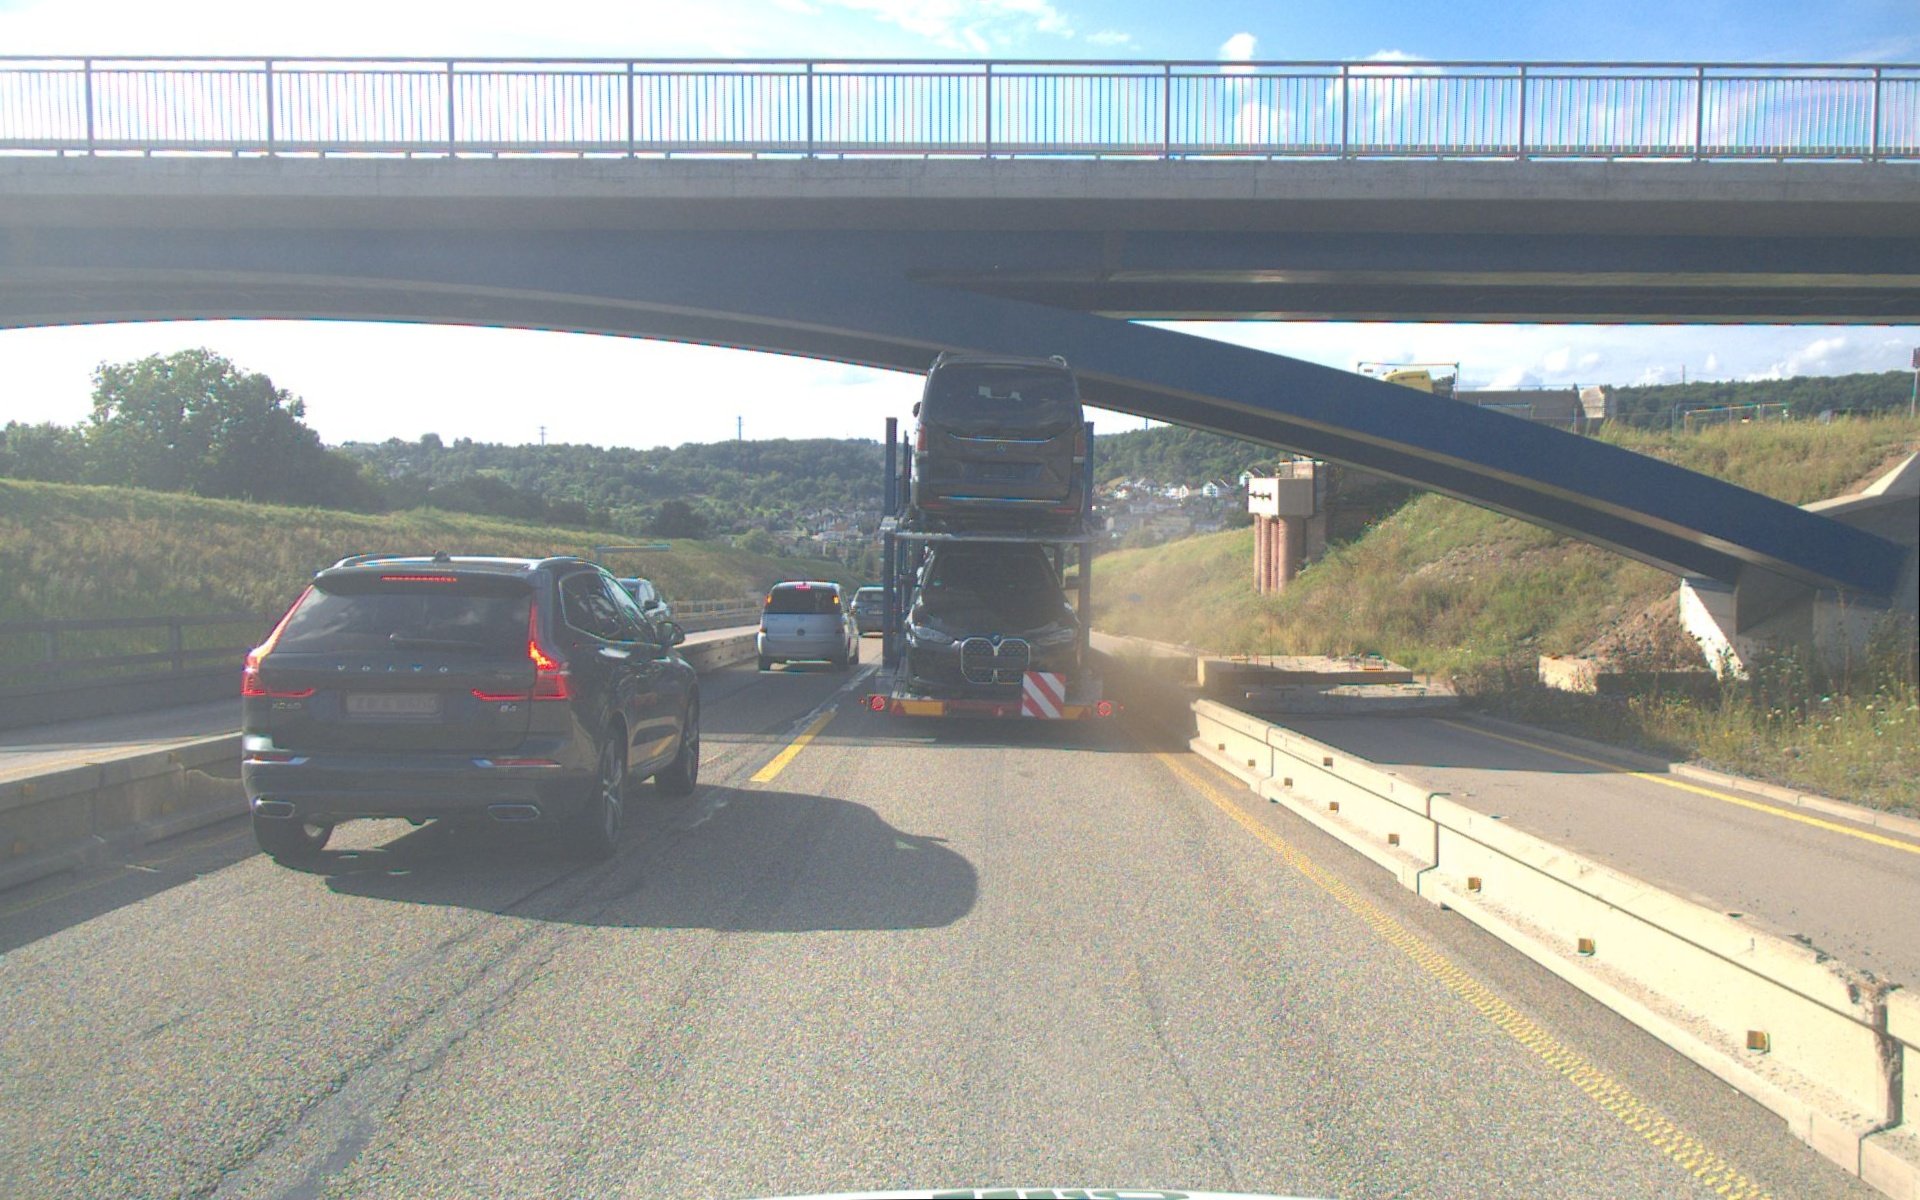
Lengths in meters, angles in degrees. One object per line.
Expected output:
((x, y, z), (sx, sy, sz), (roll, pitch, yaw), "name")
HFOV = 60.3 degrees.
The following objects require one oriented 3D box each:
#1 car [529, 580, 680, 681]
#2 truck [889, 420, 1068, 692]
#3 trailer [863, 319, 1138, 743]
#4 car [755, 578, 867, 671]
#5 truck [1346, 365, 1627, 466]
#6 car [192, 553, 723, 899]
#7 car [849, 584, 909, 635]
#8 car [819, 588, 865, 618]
((-6.277, 0.485, 29.676), (1.786, 1.590, 4.217), (-3, 1, -1), "car")
((0.288, -0.655, 27.331), (2.623, 3.990, 6.027), (0, 0, 0), "truck")
((0.343, -0.688, 21.735), (2.653, 4.099, 11.418), (0, 0, -1), "trailer")
((-2.755, 0.410, 31.507), (1.760, 1.624, 4.742), (1, 0, -1), "car")
((18.631, -6.528, 58.919), (9.074, 3.284, 2.960), (0, 0, 0), "truck")
((-2.748, 0.578, 10.314), (1.953, 1.653, 4.749), (0, 1, -1), "car")
((-2.524, 0.273, 52.526), (1.760, 1.557, 4.295), (0, 1, -1), "car")
((-5.105, 0.106, 72.120), (1.634, 1.175, 4.218), (-3, 1, 0), "car")
